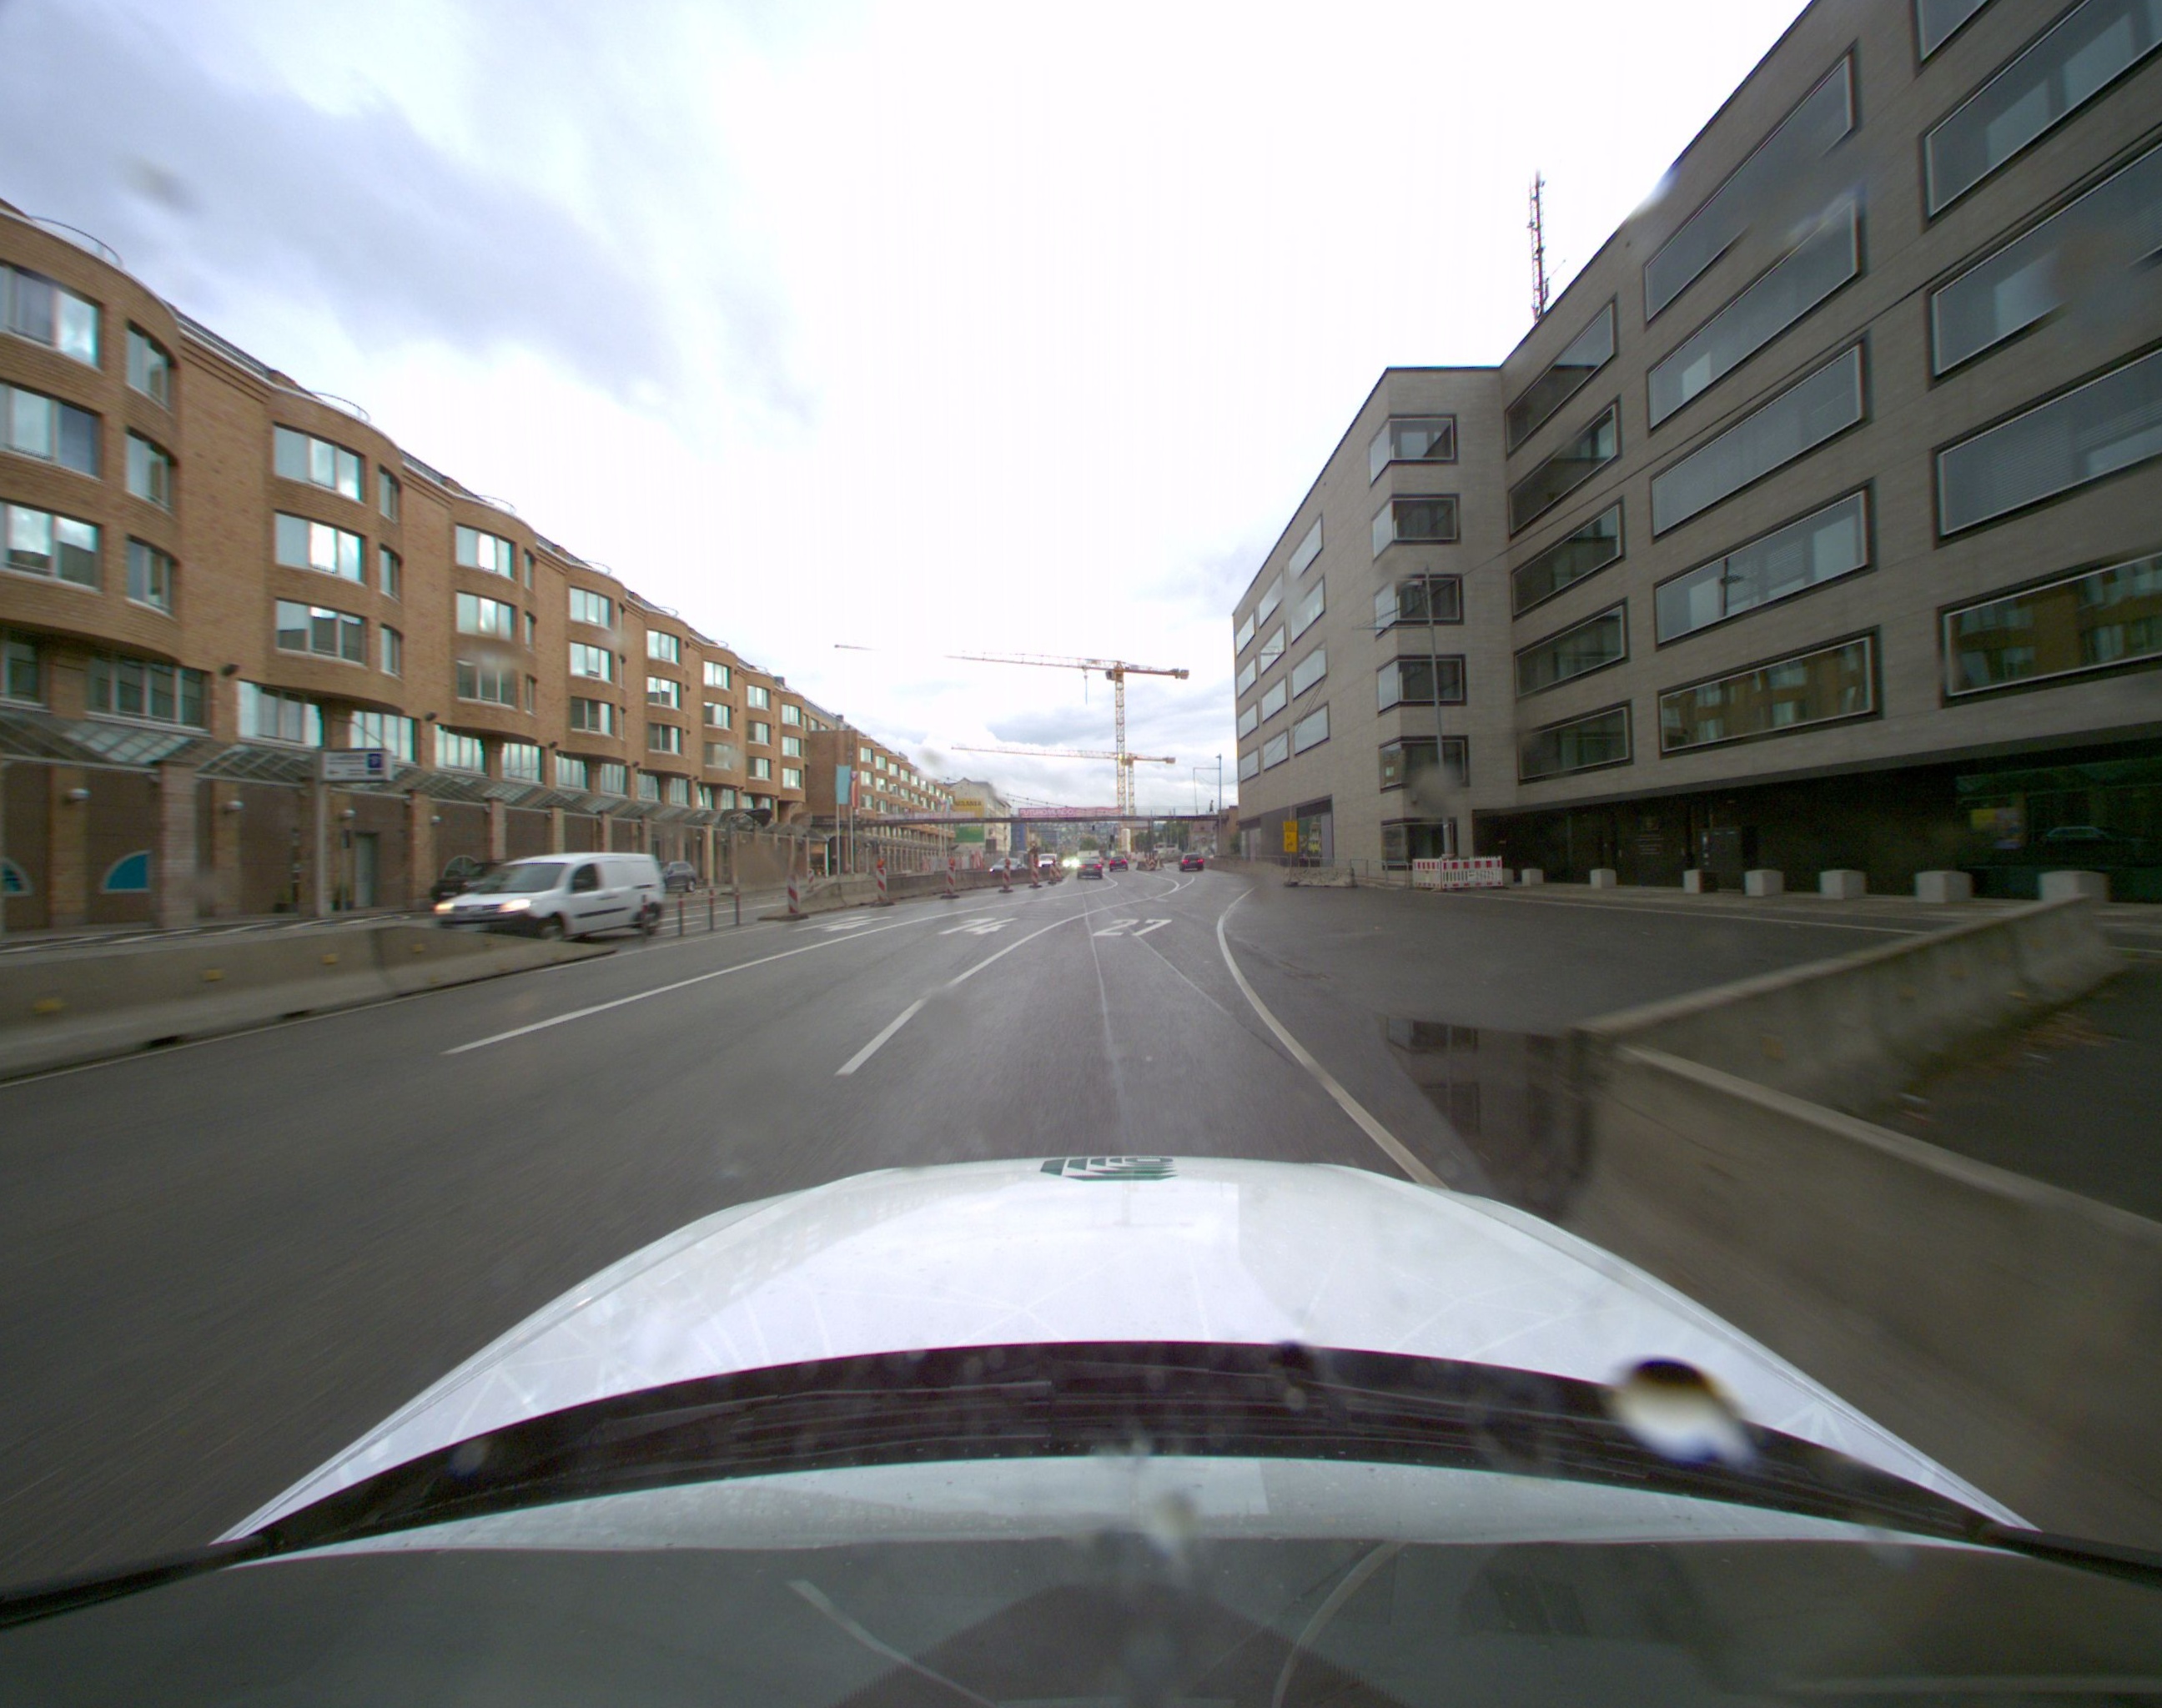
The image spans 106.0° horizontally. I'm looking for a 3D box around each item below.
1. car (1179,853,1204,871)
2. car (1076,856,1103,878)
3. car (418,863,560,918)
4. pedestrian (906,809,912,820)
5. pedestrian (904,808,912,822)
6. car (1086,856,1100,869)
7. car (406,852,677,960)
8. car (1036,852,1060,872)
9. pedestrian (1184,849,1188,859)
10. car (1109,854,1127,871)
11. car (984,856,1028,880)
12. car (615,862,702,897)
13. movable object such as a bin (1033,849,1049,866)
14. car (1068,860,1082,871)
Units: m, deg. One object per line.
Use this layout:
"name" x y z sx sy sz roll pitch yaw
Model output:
"car" 9.121 0.643 67.769 1.854 1.433 4.663 -1 0 5
"car" 0.592 0.903 58.567 1.856 1.443 4.656 -1 0 0
"car" -22.952 1.328 31.861 1.988 1.886 5.010 -1 0 -2
"pedestrian" -18.845 -4.334 89.136 0.473 1.194 0.484 -3 0 3
"pedestrian" -18.938 -4.263 89.145 0.618 1.452 0.619 -3 0 3
"car" 1.664 1.116 113.101 1.857 1.765 4.654 -1 0 -1
"car" -10.265 0.880 16.101 1.878 1.783 4.881 -1 0 3
"car" -3.234 0.745 80.769 1.985 1.885 4.873 -1 0 3
"pedestrian" 20.329 -0.033 157.151 0.622 2.013 0.666 -1 0 12
"car" 3.834 0.822 84.531 1.856 1.660 4.658 -1 0 2
"car" -4.881 0.875 53.477 1.983 1.459 4.237 -1 0 7
"car" -23.100 1.359 44.779 1.986 1.690 5.052 -1 0 2
"movable object such as a bin" -5.750 0.525 117.310 2.022 2.277 4.288 -5 0 -3
"car" -0.890 1.799 126.957 1.987 1.623 4.702 -2 0 1
